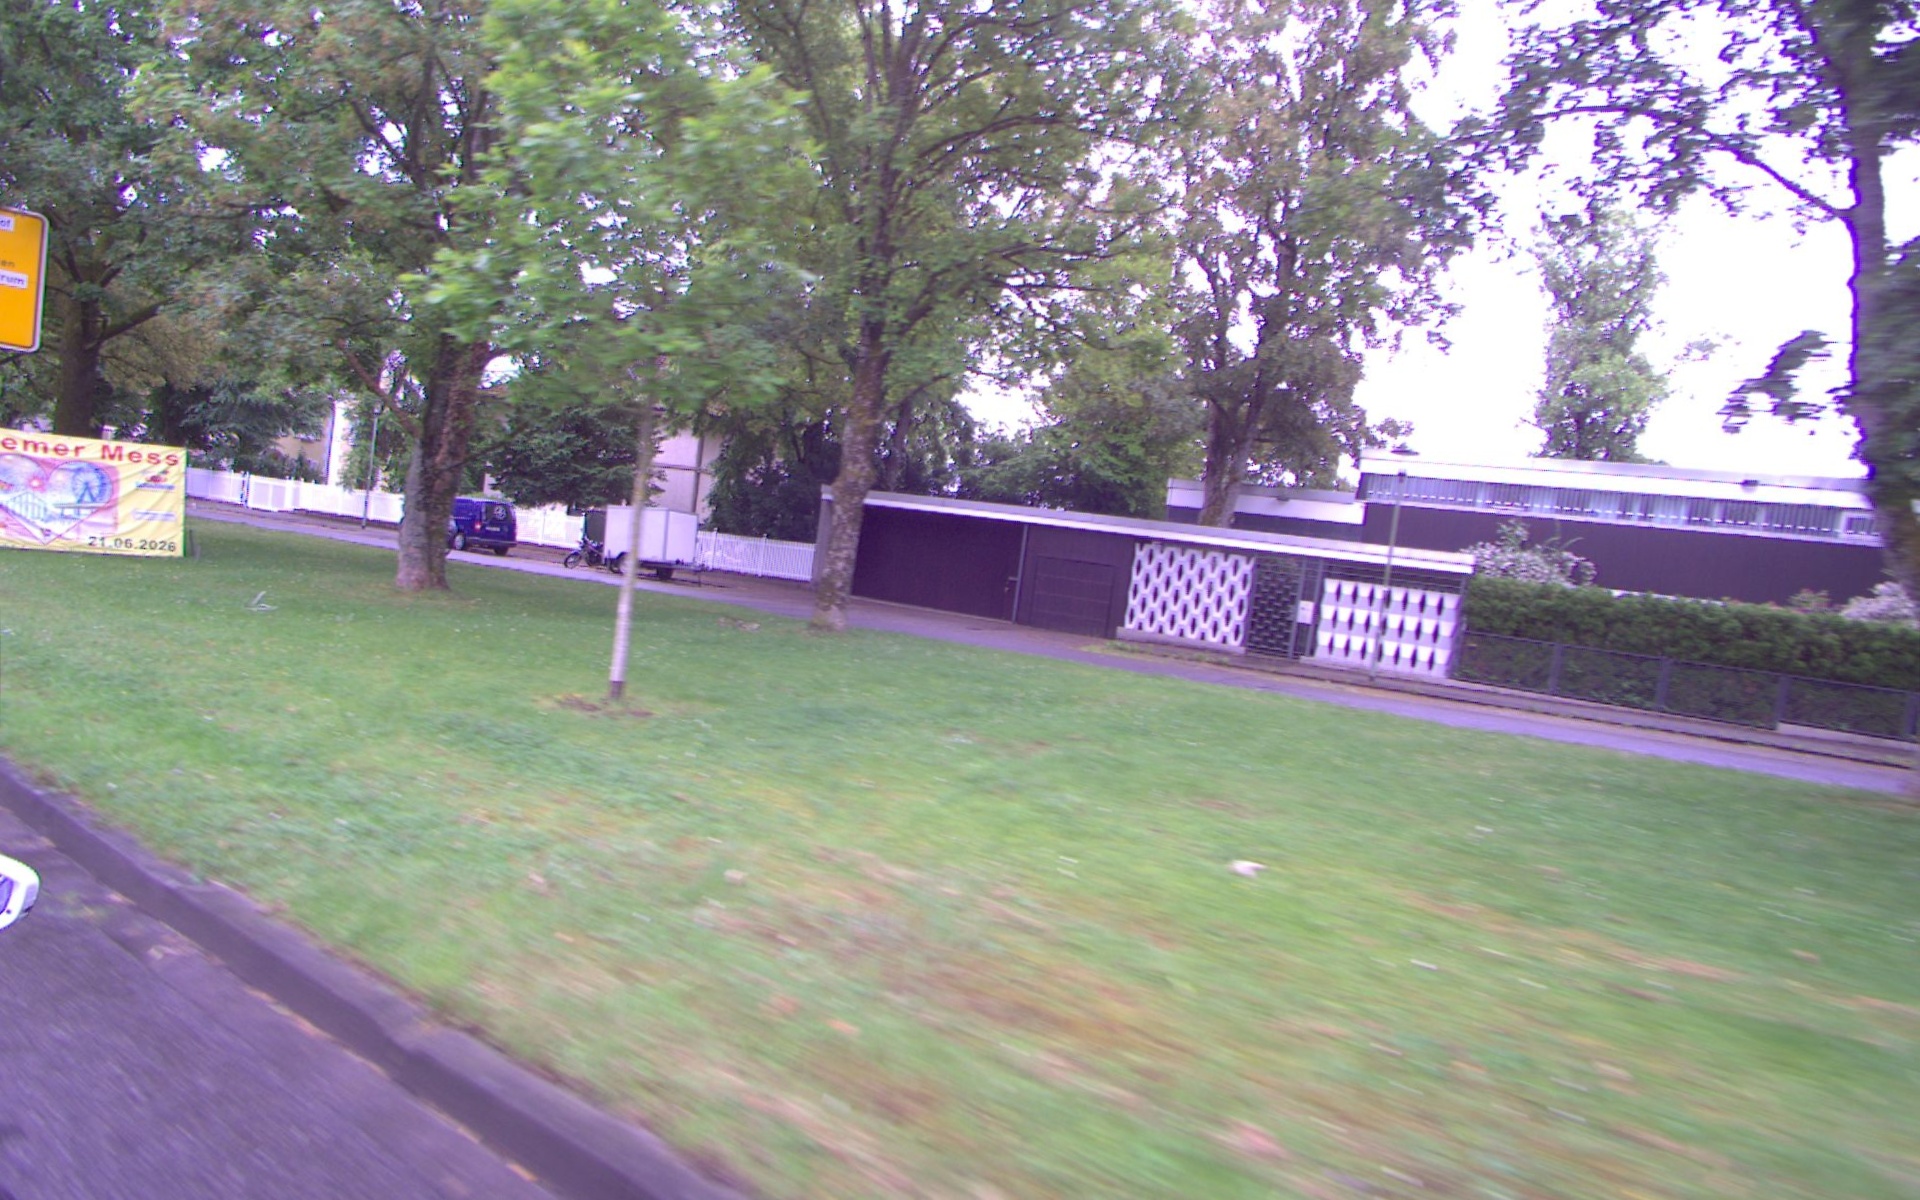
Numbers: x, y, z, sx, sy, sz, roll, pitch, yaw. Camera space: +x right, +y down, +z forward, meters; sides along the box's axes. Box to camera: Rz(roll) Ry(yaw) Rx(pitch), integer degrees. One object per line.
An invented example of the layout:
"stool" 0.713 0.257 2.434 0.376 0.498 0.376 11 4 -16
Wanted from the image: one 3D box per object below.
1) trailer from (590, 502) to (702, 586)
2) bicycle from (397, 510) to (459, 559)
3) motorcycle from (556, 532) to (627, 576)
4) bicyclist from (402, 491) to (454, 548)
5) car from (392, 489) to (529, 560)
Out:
"trailer" -9.509 -1.689 30.467 2.898 2.182 1.438 7 2 27
"bicycle" -14.551 -1.808 27.499 1.833 1.153 0.596 7 1 32
"motorcycle" -11.473 -1.413 31.319 1.876 1.107 0.651 6 3 -39
"bicyclist" -14.546 -2.197 27.520 0.983 1.408 0.745 7 1 32
"car" -17.355 -2.628 34.912 4.568 1.834 1.942 9 4 29
